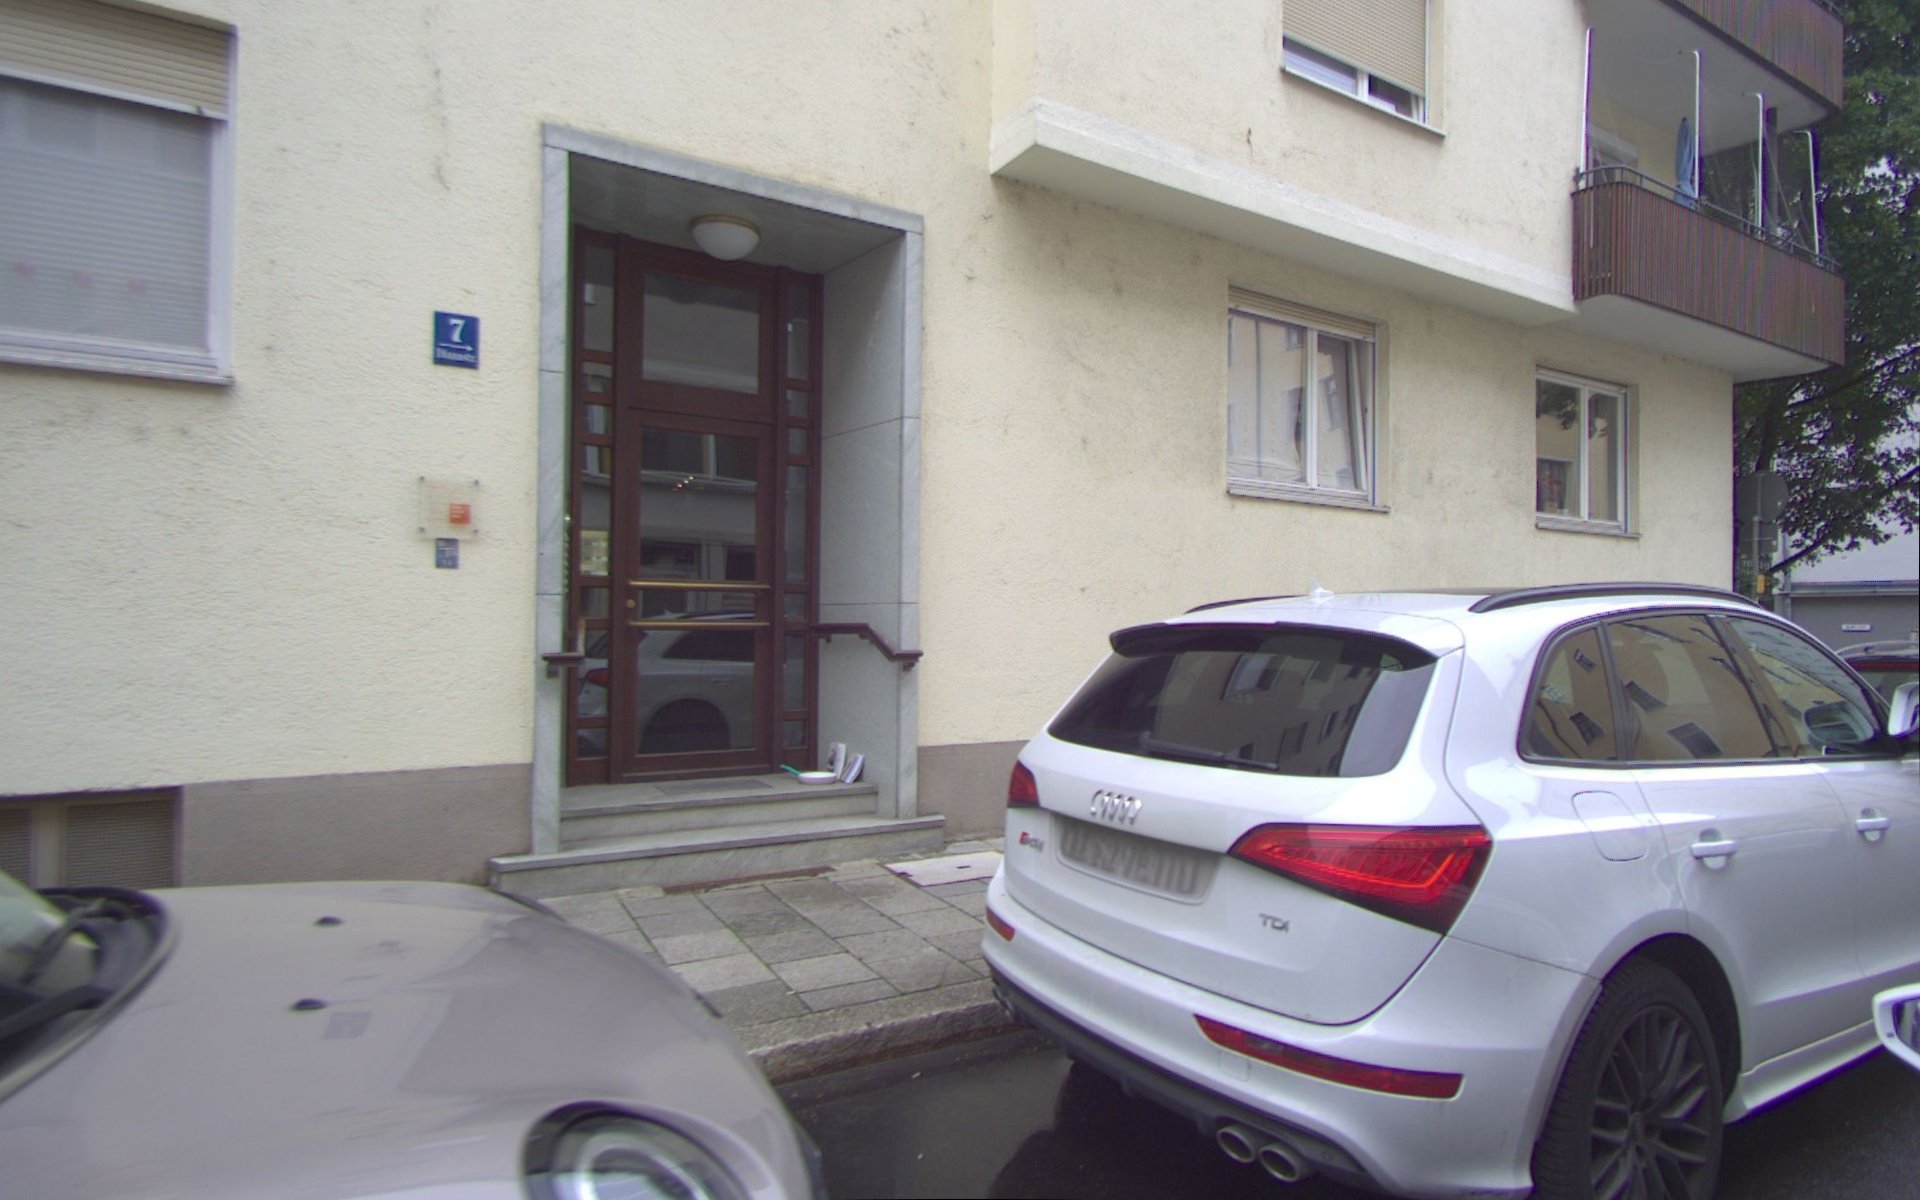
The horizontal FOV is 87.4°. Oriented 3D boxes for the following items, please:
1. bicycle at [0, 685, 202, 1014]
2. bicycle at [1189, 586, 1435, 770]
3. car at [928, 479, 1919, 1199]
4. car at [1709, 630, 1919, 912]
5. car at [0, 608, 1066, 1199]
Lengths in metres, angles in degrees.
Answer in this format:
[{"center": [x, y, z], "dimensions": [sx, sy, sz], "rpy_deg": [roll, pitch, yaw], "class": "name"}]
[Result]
[{"center": [-3.787, 0.870, 3.467], "dimensions": [1.793, 1.041, 0.726], "rpy_deg": [1, 0, -32], "class": "bicycle"}, {"center": [2.522, 0.535, 7.156], "dimensions": [1.767, 1.176, 0.642], "rpy_deg": [2, -3, -29], "class": "bicycle"}, {"center": [2.192, 0.726, 3.593], "dimensions": [4.317, 1.697, 1.757], "rpy_deg": [2, -3, -31], "class": "car"}, {"center": [6.997, 0.948, 6.519], "dimensions": [4.369, 1.503, 1.759], "rpy_deg": [1, -2, -29], "class": "car"}, {"center": [-1.911, 0.730, 0.900], "dimensions": [3.757, 1.454, 1.645], "rpy_deg": [2, -3, -30], "class": "car"}]
